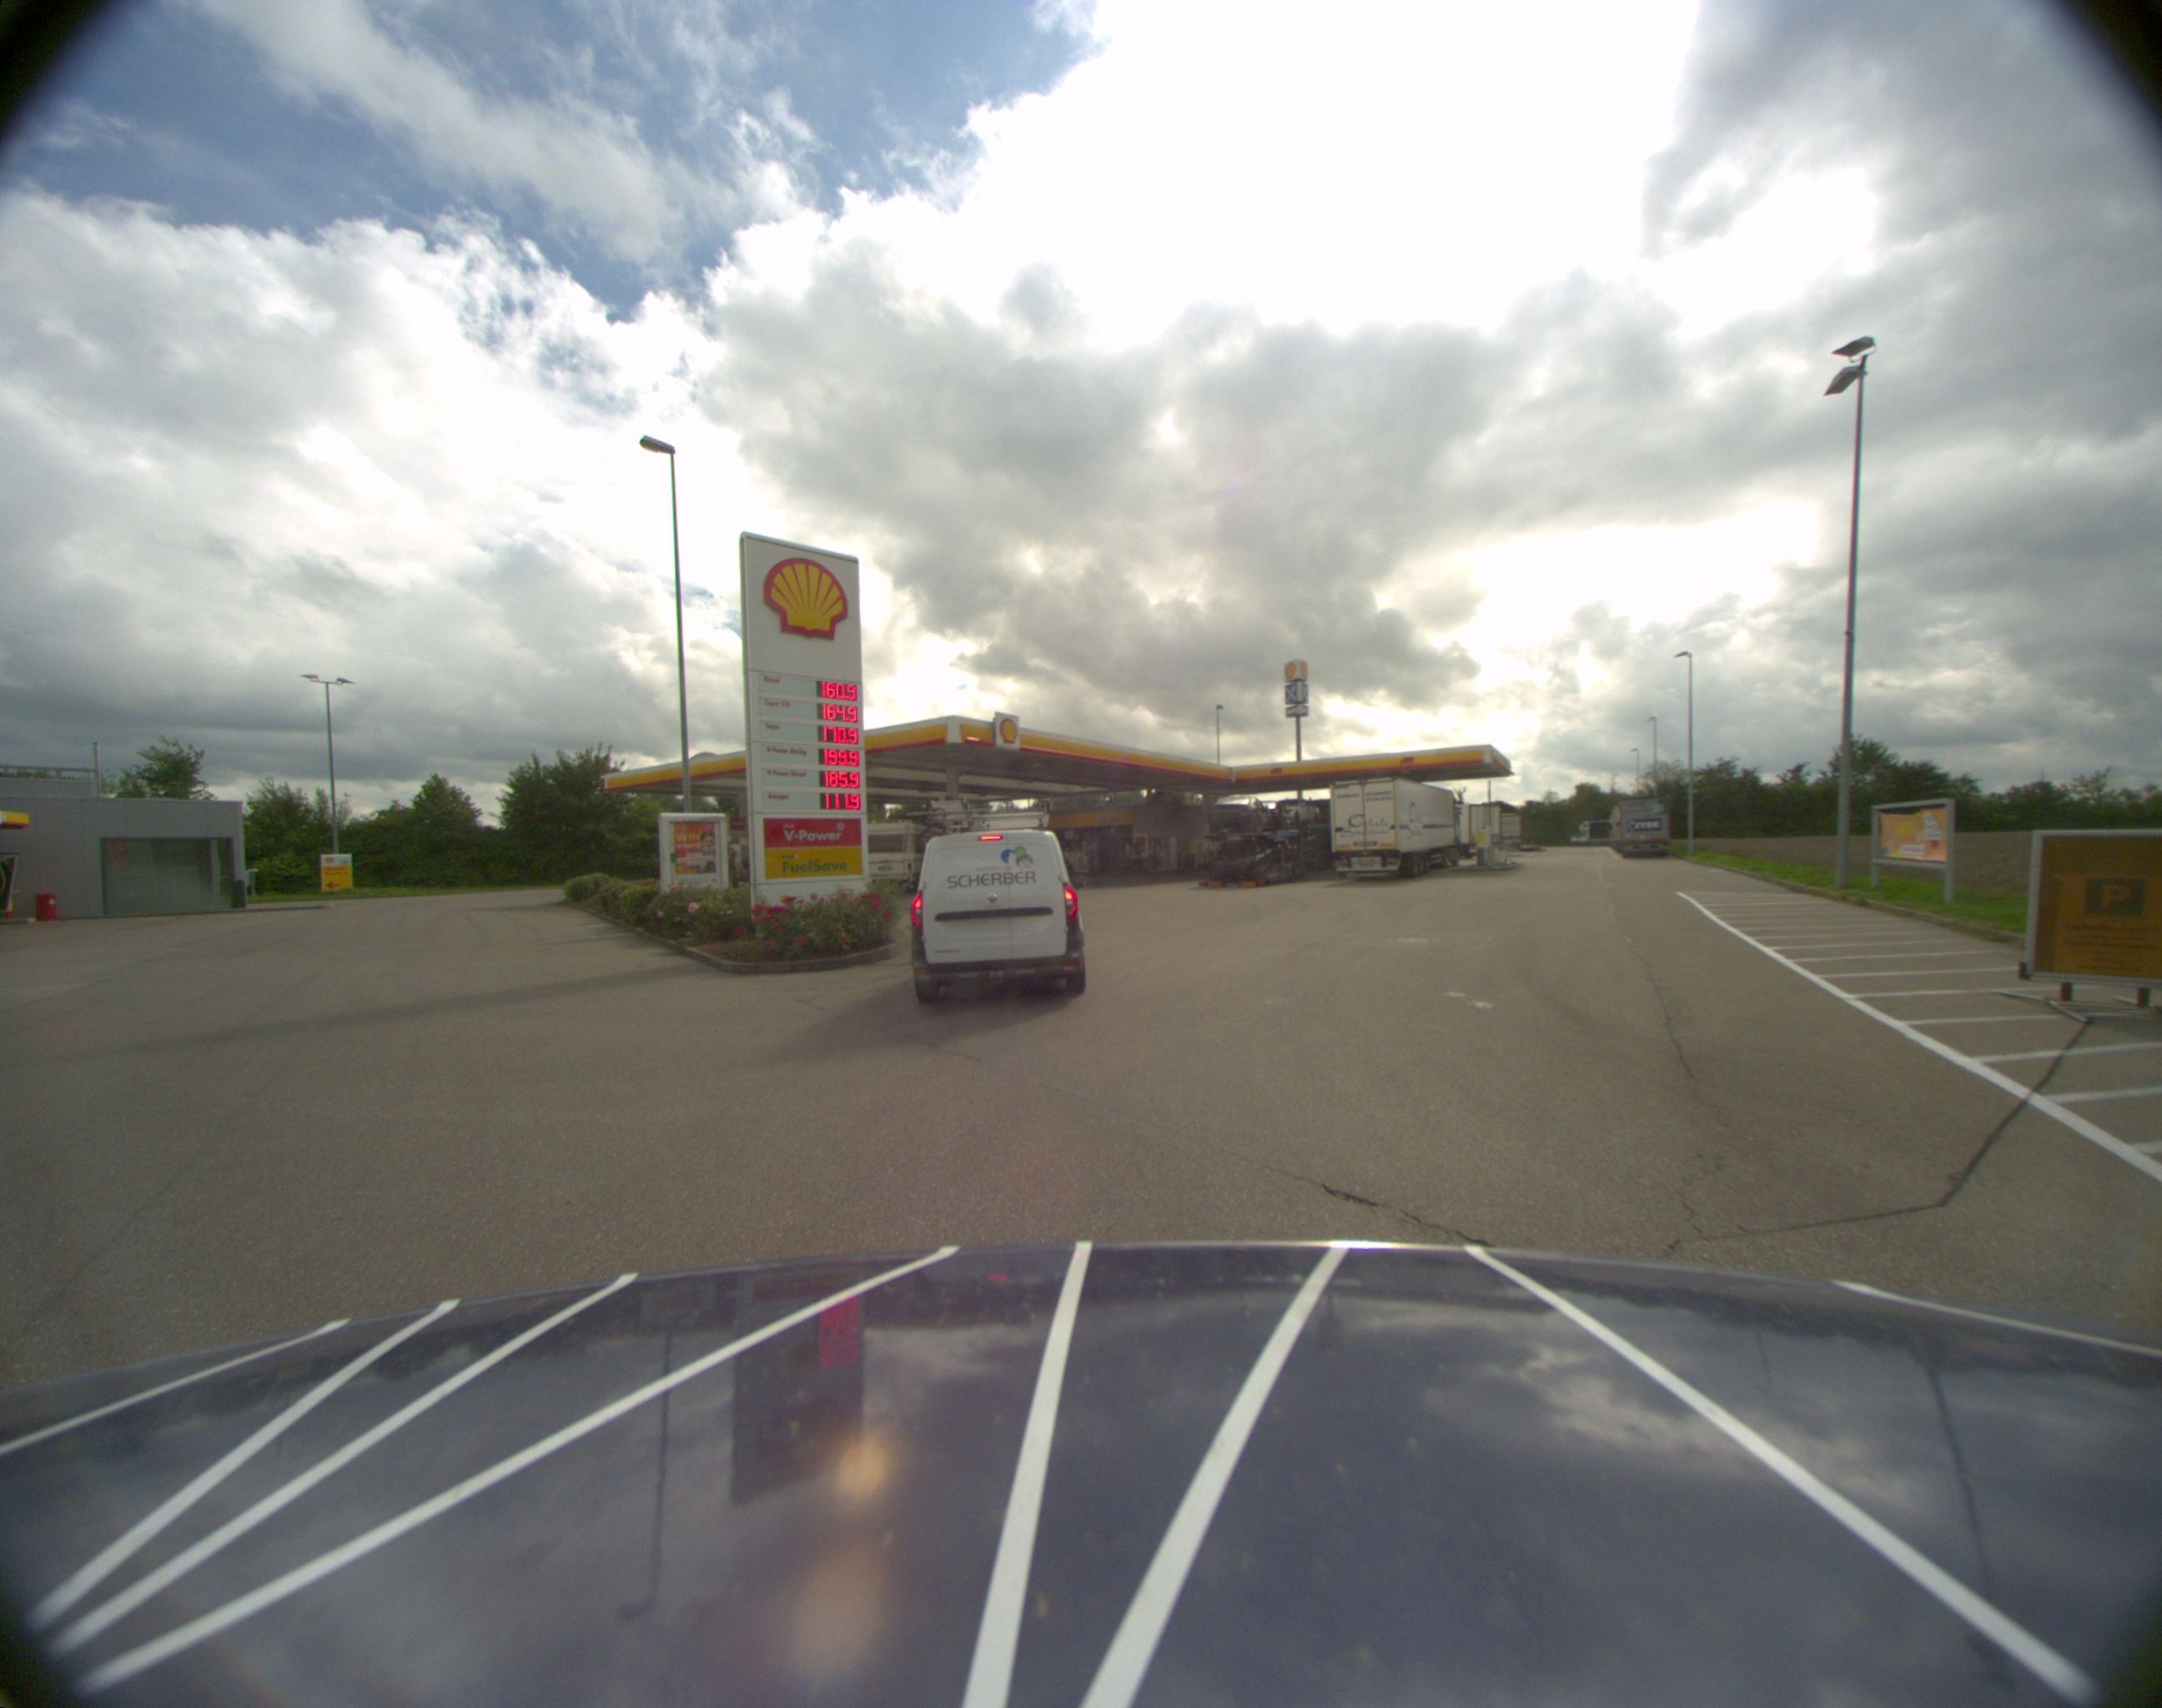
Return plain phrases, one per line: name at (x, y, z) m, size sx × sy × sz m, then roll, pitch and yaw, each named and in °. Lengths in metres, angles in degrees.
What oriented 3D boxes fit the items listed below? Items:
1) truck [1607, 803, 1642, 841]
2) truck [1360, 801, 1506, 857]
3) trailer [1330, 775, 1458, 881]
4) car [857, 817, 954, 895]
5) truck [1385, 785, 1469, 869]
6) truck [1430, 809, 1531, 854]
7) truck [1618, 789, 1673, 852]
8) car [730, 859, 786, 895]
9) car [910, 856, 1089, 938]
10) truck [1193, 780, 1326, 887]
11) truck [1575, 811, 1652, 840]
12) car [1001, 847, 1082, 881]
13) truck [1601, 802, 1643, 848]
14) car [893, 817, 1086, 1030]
truck at (60.705, -3.529, 84.746) m, size 2.816 × 3.871 × 12.833 m, roll 0°, pitch 2°, yaw 37°
truck at (28.379, -1.959, 62.750) m, size 2.964 × 4.089 × 14.732 m, roll -1°, pitch 1°, yaw -11°
trailer at (14.704, -1.129, 34.776) m, size 2.705 × 4.001 × 12.871 m, roll -1°, pitch 1°, yaw 34°
car at (-6.944, 0.044, 30.853) m, size 2.222 × 2.771 × 5.809 m, roll -2°, pitch 1°, yaw 3°
truck at (18.344, -1.367, 39.996) m, size 2.705 × 4.001 × 7.182 m, roll -1°, pitch 1°, yaw 34°
truck at (40.364, -2.152, 77.435) m, size 2.994 × 4.087 × 11.567 m, roll -2°, pitch 1°, yaw -6°
truck at (40.356, -2.303, 54.286) m, size 2.816 × 3.871 × 15.491 m, roll 0°, pitch 2°, yaw 37°
car at (-15.559, 1.057, 36.782) m, size 1.852 × 1.565 × 3.995 m, roll -2°, pitch 1°, yaw -15°
car at (-1.825, 0.890, 16.506) m, size 3.711 × 1.538 × 1.582 m, roll -2°, pitch 1°, yaw 36°
truck at (8.525, -0.903, 34.320) m, size 2.745 × 3.901 × 13.280 m, roll 0°, pitch 1°, yaw 27°
truck at (71.216, -3.745, 101.804) m, size 2.829 × 3.635 × 8.035 m, roll -3°, pitch 2°, yaw -43°
car at (-2.029, 0.533, 38.719) m, size 3.752 × 1.592 × 1.719 m, roll -2°, pitch 1°, yaw 29°
truck at (51.416, -2.709, 71.974) m, size 2.816 × 3.871 × 15.491 m, roll 0°, pitch 2°, yaw 37°
car at (-0.972, 0.670, 9.325) m, size 1.795 × 2.000 × 3.880 m, roll -2°, pitch 0°, yaw -3°
